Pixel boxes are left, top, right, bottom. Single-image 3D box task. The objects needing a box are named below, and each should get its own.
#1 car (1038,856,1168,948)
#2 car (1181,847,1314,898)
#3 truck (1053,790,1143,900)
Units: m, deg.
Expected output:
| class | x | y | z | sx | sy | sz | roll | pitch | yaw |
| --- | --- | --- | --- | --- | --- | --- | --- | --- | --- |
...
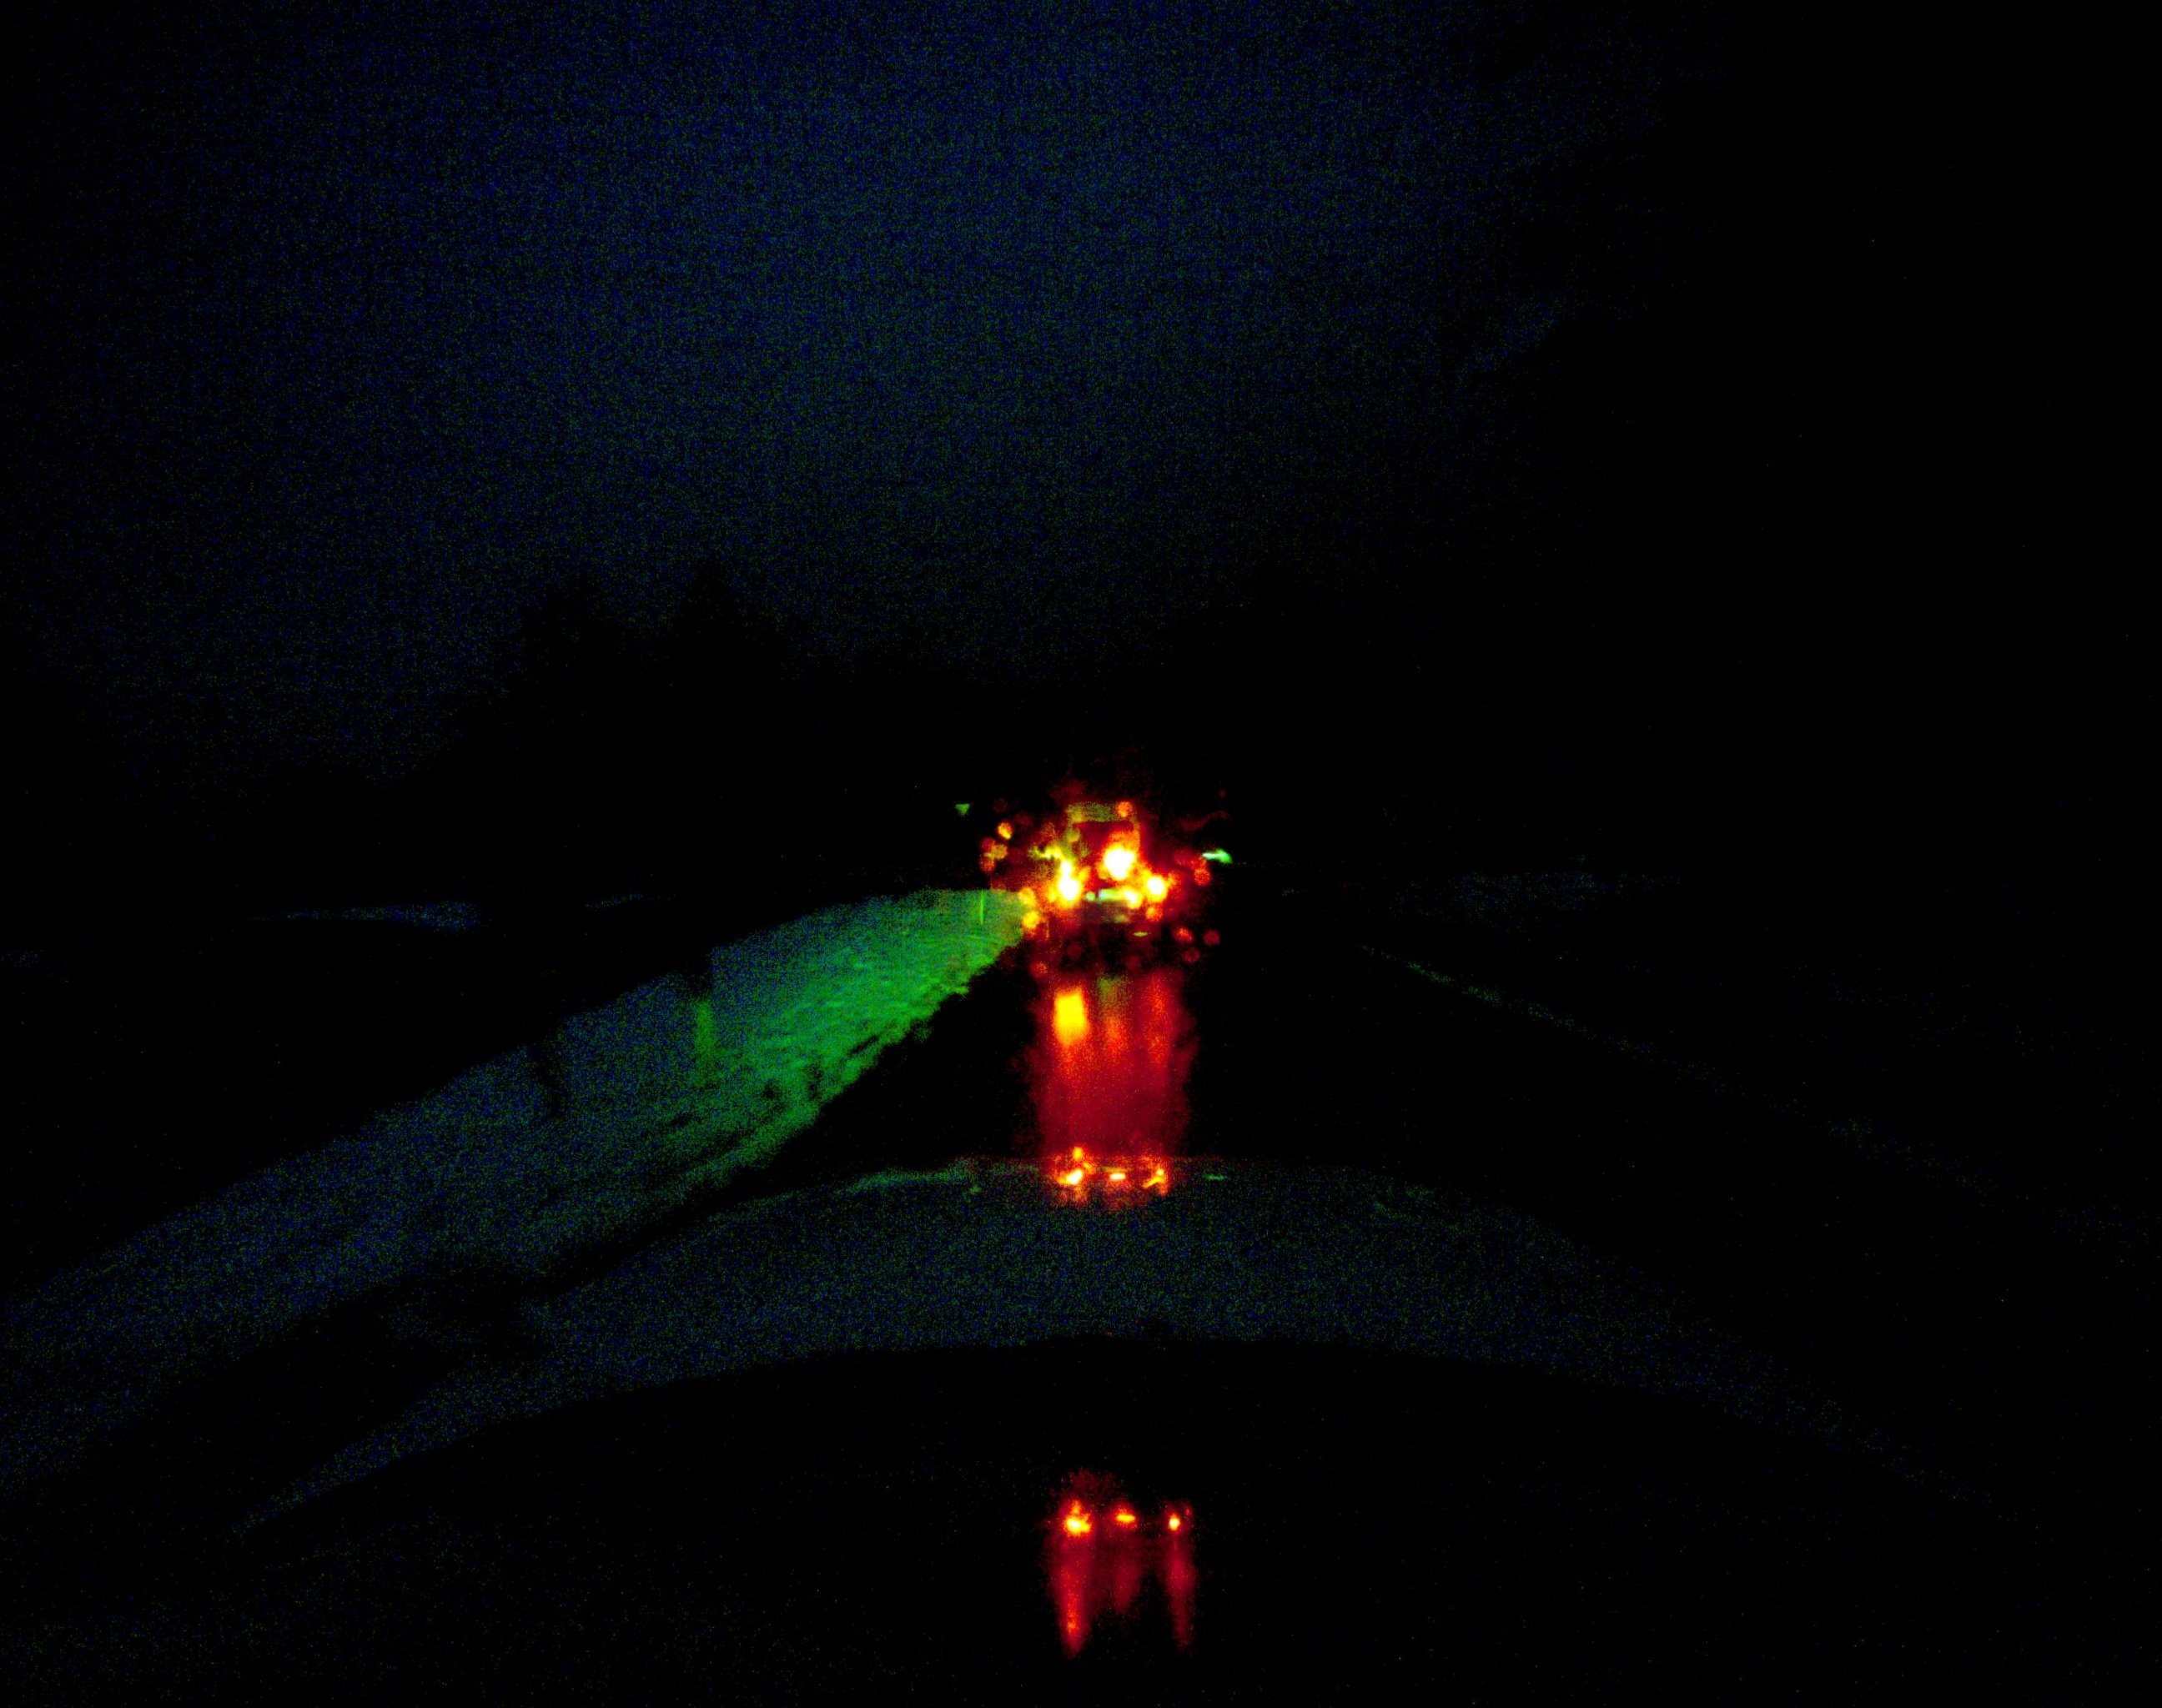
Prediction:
| class | x | y | z | sx | sy | sz | roll | pitch | yaw |
| --- | --- | --- | --- | --- | --- | --- | --- | --- | --- |
| car | 0.366 | 0.719 | 14.031 | 1.915 | 1.276 | 4.001 | 0 | 1 | 1 |
| car | 6.649 | 0.718 | 32.686 | 5.004 | 1.945 | 1.679 | 0 | -1 | -10 |
| truck | 0.341 | -0.204 | 23.088 | 2.072 | 2.746 | 5.310 | 0 | 0 | -4 |
